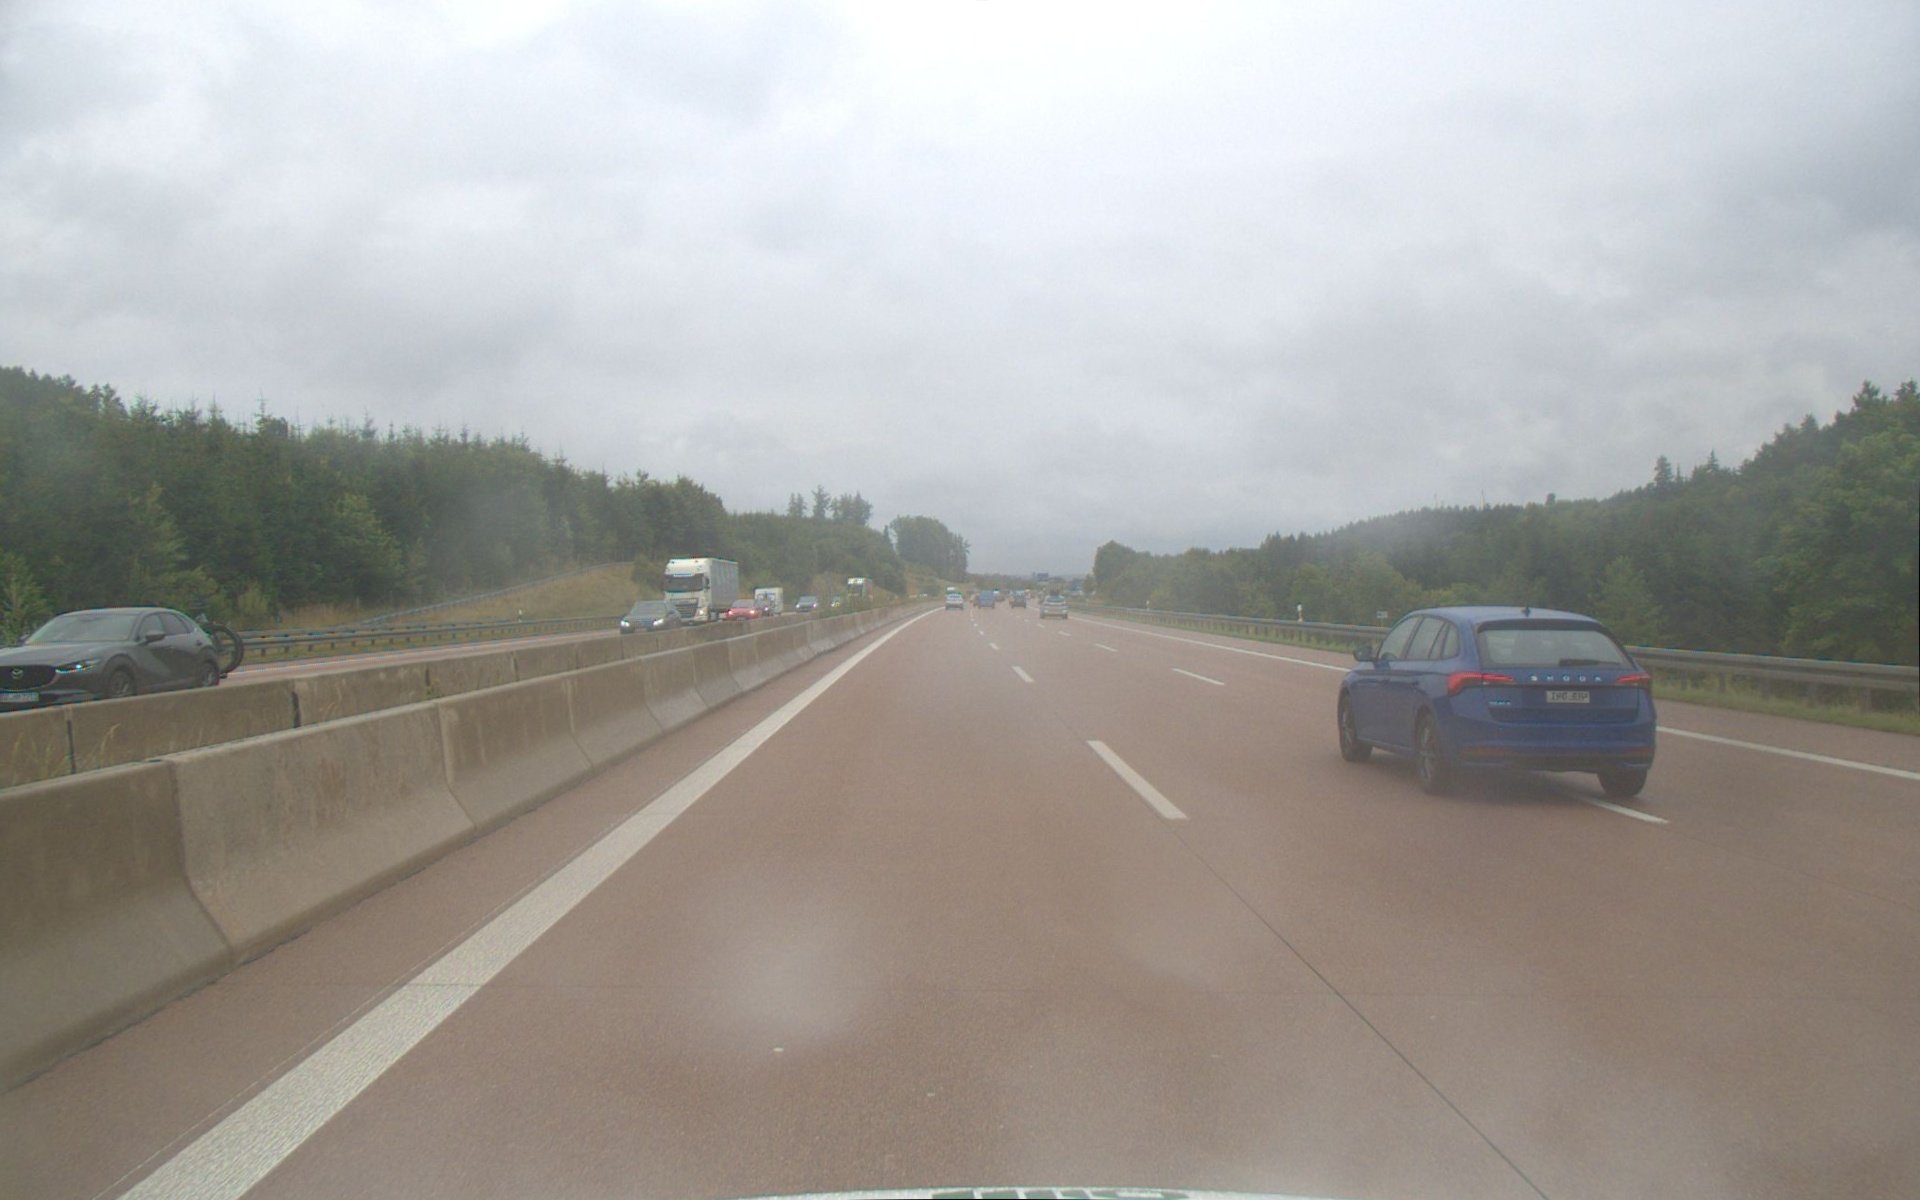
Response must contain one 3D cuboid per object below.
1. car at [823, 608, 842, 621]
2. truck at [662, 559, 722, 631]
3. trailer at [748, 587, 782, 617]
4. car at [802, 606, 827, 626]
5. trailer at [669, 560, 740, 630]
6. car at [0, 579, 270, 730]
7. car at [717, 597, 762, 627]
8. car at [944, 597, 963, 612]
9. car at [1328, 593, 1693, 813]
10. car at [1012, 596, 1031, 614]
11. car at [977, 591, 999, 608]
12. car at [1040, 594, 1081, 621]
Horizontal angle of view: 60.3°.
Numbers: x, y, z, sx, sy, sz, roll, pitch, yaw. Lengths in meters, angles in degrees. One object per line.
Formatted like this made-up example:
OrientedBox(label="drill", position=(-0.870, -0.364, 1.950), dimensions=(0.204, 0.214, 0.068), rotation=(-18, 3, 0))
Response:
OrientedBox(label="car", position=(-16.035, 1.835, 208.252), dimensions=(1.953, 1.603, 4.524), rotation=(-1, -1, 0))
OrientedBox(label="truck", position=(-16.457, -0.273, 102.011), dimensions=(2.712, 4.249, 6.000), rotation=(-1, -1, -1))
OrientedBox(label="trailer", position=(-16.872, 0.160, 143.256), dimensions=(2.230, 2.453, 5.437), rotation=(-3, 0, -1))
OrientedBox(label="car", position=(-12.271, 1.358, 139.692), dimensions=(1.657, 1.584, 5.676), rotation=(-2, 0, 0))
OrientedBox(label="trailer", position=(-16.511, -0.181, 107.936), dimensions=(2.683, 4.212, 12.752), rotation=(-2, -1, -1))
OrientedBox(label="car", position=(-12.013, 0.733, 23.757), dimensions=(2.236, 1.894, 5.721), rotation=(1, -1, -5))
OrientedBox(label="car", position=(-12.514, 0.716, 93.989), dimensions=(1.953, 1.572, 4.279), rotation=(-2, -1, -1))
OrientedBox(label="car", position=(-0.662, 0.459, 170.524), dimensions=(1.836, 1.470, 4.875), rotation=(1, -1, -2))
OrientedBox(label="car", position=(4.533, 0.799, 14.288), dimensions=(1.735, 1.591, 4.146), rotation=(1, -1, 0))
OrientedBox(label="car", position=(7.466, 0.578, 200.280), dimensions=(1.954, 2.049, 3.997), rotation=(1, -1, -3))
OrientedBox(label="car", position=(3.160, -0.025, 187.458), dimensions=(2.276, 1.780, 4.874), rotation=(1, -1, -2))
OrientedBox(label="car", position=(6.908, 0.531, 114.048), dimensions=(2.276, 1.780, 4.874), rotation=(1, -1, -2))
